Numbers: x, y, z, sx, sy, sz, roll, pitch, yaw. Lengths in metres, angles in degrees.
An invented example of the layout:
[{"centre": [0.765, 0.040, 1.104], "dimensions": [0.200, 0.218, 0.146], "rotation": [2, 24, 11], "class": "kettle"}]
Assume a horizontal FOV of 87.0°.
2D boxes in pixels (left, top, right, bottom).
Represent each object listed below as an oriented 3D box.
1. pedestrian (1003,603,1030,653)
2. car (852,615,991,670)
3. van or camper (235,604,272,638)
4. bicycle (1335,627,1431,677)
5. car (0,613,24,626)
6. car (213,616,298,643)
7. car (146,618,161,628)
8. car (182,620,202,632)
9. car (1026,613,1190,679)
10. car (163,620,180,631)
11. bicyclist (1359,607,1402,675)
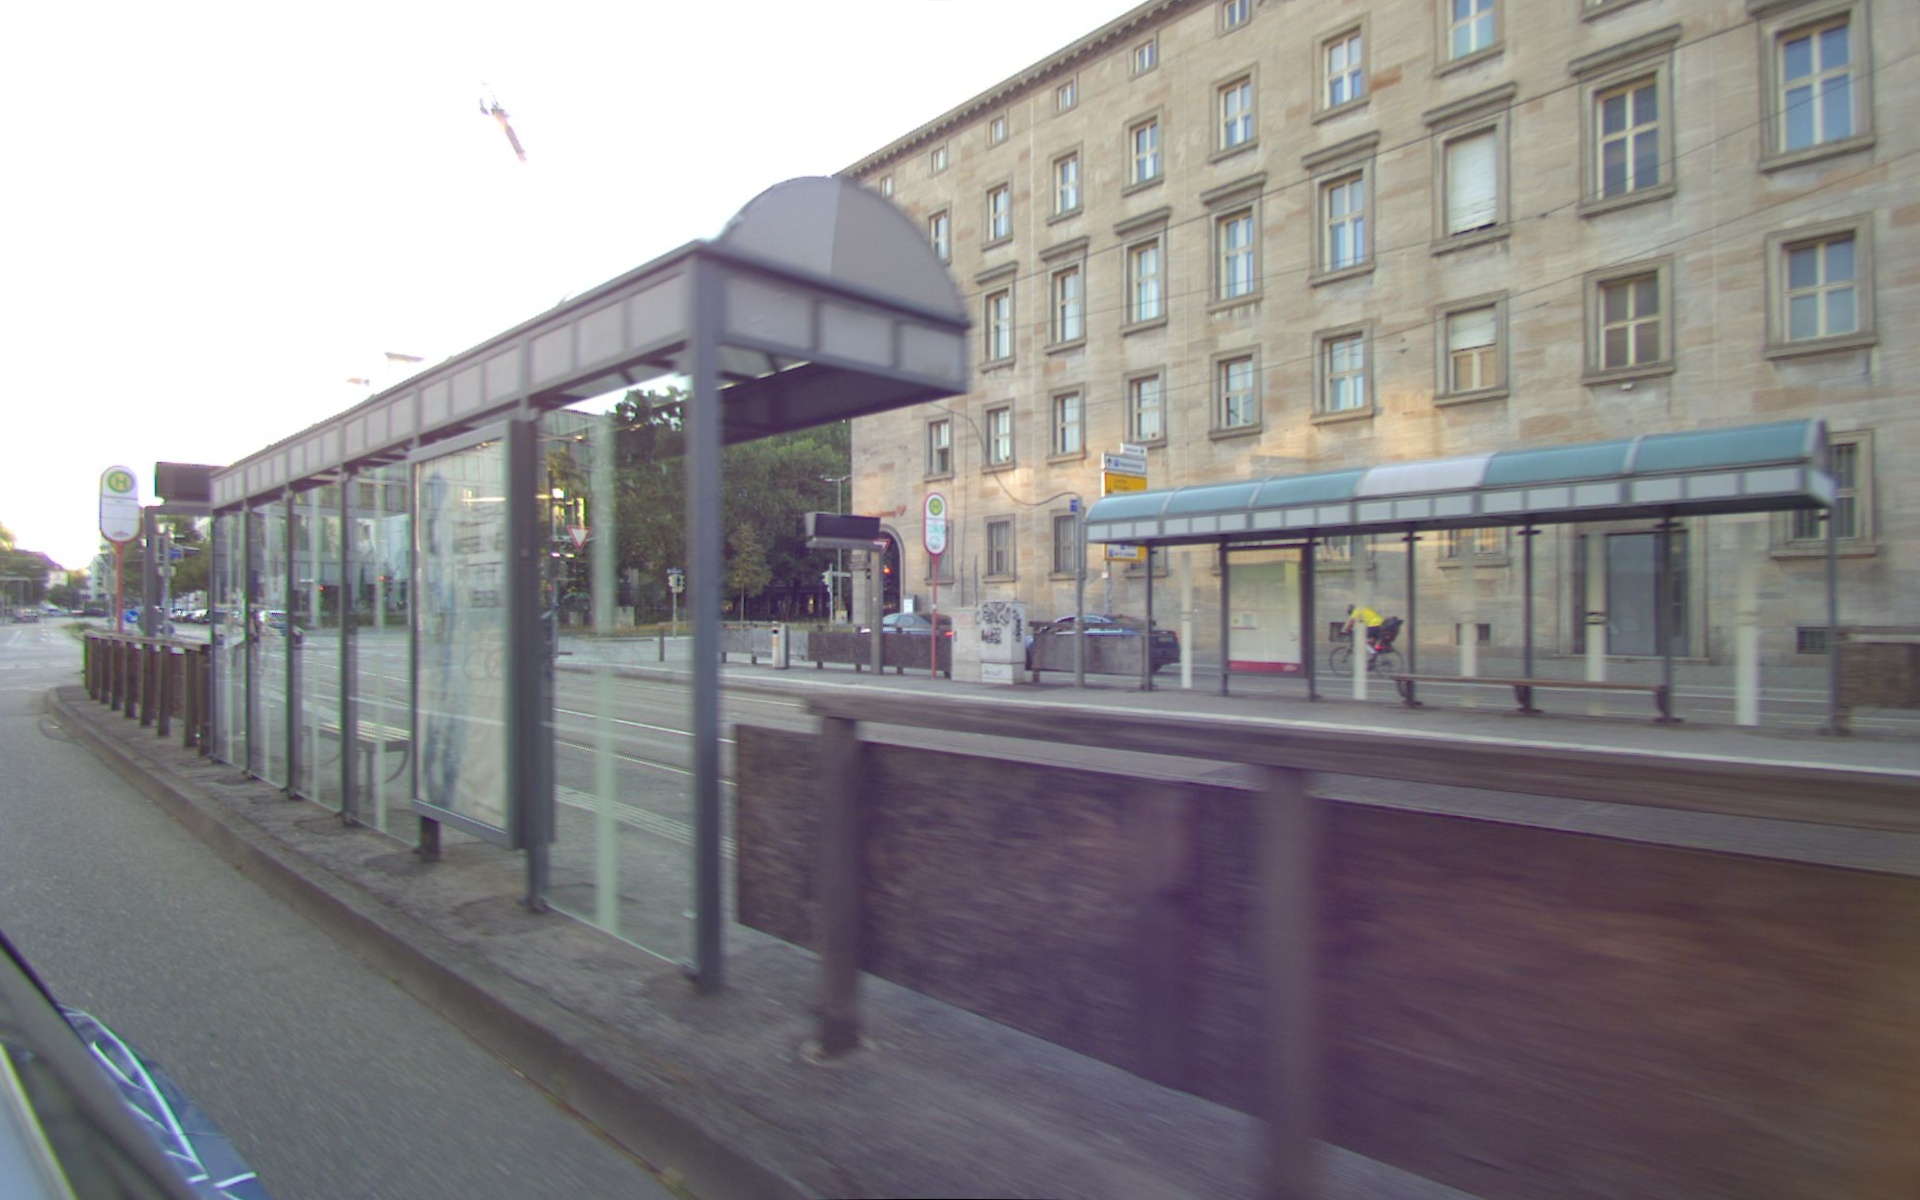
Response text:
[{"centre": [1.962, 0.957, 35.154], "dimensions": [0.687, 1.723, 0.647], "rotation": [0, -1, -40], "class": "pedestrian"}, {"centre": [-1.168, 1.159, 28.904], "dimensions": [1.623, 1.438, 4.236], "rotation": [0, -1, -43], "class": "car"}, {"centre": [-60.209, 1.789, 86.252], "dimensions": [2.079, 2.702, 4.717], "rotation": [0, -3, -41], "class": "van or camper"}, {"centre": [9.179, 1.117, 21.996], "dimensions": [0.733, 1.025, 1.763], "rotation": [0, -1, -42], "class": "bicycle"}, {"centre": [-121.274, 2.491, 128.386], "dimensions": [3.752, 1.661, 1.865], "rotation": [0, -1, -43], "class": "car"}, {"centre": [-44.438, 1.853, 63.876], "dimensions": [4.294, 1.676, 1.882], "rotation": [-1, -1, 8], "class": "car"}, {"centre": [-127.741, 3.624, 160.273], "dimensions": [1.696, 1.441, 3.816], "rotation": [0, -1, -39], "class": "car"}, {"centre": [-91.234, 3.103, 120.212], "dimensions": [1.696, 1.441, 3.816], "rotation": [0, -1, -39], "class": "car"}, {"centre": [3.493, 1.060, 24.362], "dimensions": [1.623, 1.438, 3.709], "rotation": [0, -1, -43], "class": "car"}, {"centre": [-104.598, 3.327, 134.233], "dimensions": [1.696, 1.441, 3.816], "rotation": [0, -1, -39], "class": "car"}, {"centre": [9.151, 0.873, 22.031], "dimensions": [0.747, 1.451, 0.597], "rotation": [0, -1, -43], "class": "bicyclist"}]
